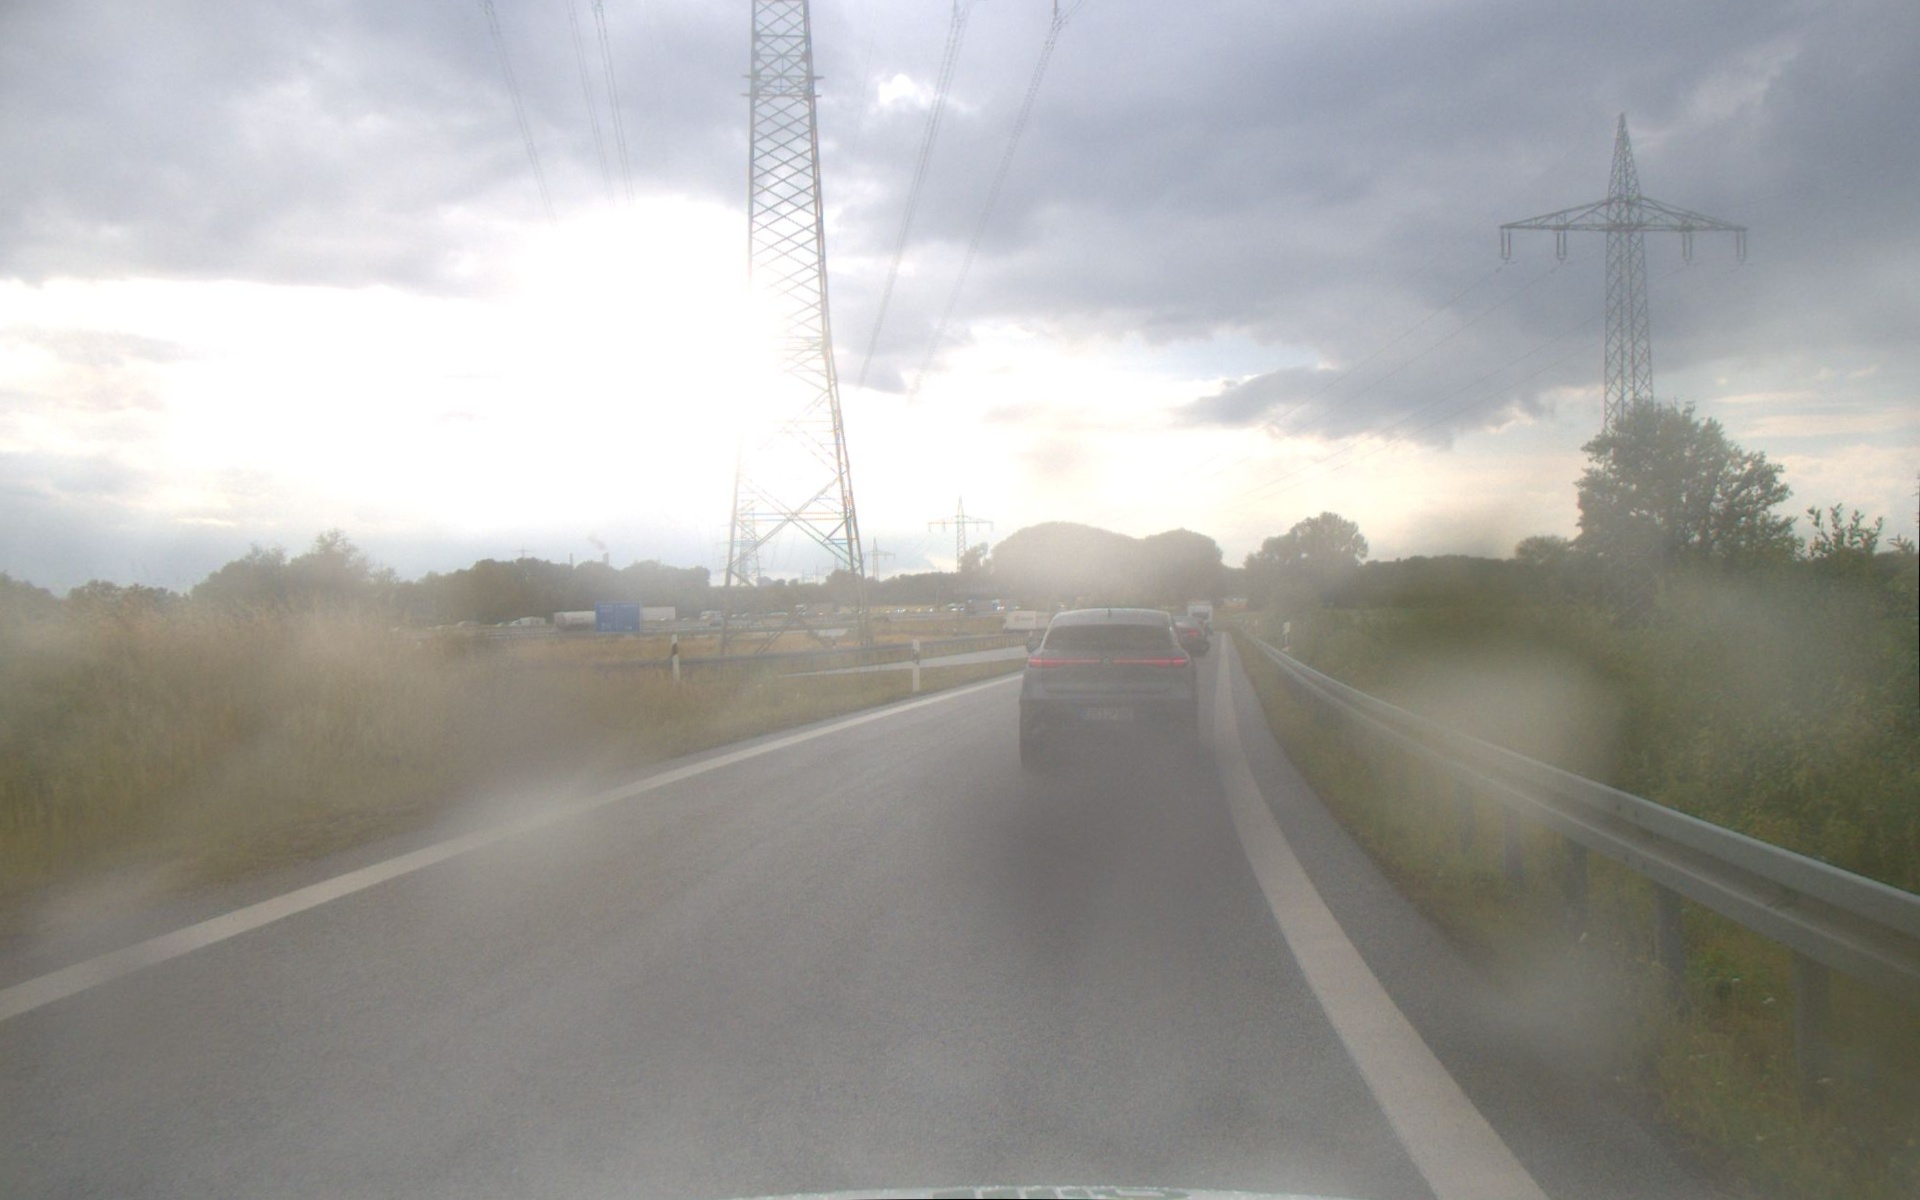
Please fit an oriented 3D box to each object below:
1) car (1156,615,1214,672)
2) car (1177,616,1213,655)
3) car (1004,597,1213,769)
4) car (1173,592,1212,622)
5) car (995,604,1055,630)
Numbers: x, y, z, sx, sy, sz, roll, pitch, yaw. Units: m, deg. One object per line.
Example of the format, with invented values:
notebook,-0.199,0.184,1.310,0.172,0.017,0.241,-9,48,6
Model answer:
car,8.796,1.666,64.921,2.076,2.053,5.538,-2,-1,6
car,15.977,2.373,112.325,2.301,2.347,5.133,-1,1,9
car,1.602,0.785,17.720,1.951,1.594,4.151,1,0,6
car,25.812,0.779,183.921,3.073,3.002,7.207,-2,1,-2
car,9.662,2.602,246.326,8.887,3.674,3.372,-2,-1,43
